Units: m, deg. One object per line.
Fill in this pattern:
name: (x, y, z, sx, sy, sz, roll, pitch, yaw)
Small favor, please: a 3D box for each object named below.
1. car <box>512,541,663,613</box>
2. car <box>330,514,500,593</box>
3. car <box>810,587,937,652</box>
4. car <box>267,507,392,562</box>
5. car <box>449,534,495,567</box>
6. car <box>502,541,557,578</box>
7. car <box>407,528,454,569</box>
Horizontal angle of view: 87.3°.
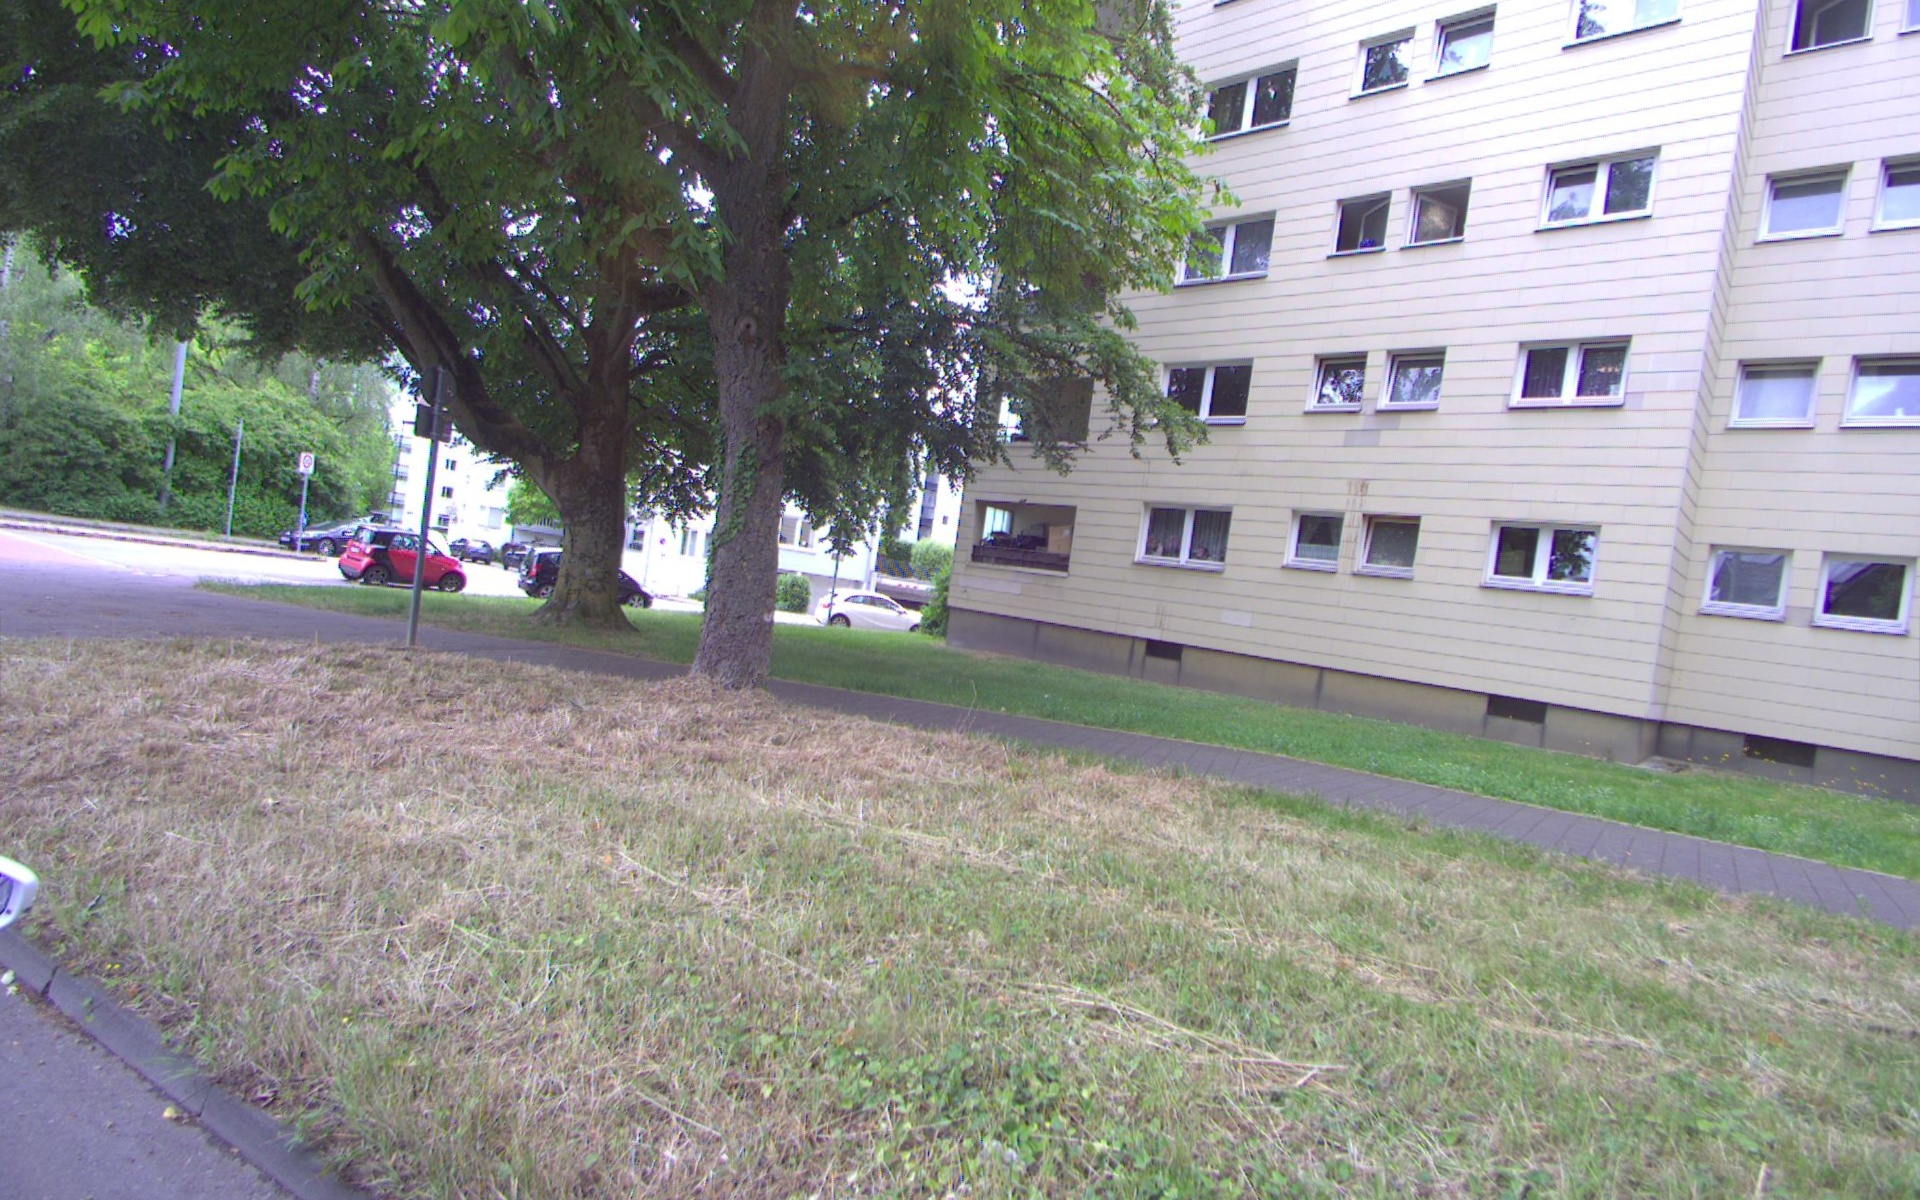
car: (-11.060, -0.674, 29.922, 3.814, 1.631, 1.713, 6, 1, -33)
car: (-14.530, -1.207, 26.948, 1.702, 1.631, 3.516, 8, 1, 37)
car: (-2.888, 0.633, 33.310, 3.796, 1.631, 1.721, 7, 1, -18)
car: (-23.404, -2.405, 37.432, 1.702, 1.549, 3.515, 8, 1, 38)
car: (-30.114, -3.076, 62.024, 1.713, 1.631, 3.813, 6, 1, -38)
car: (-23.189, -2.200, 54.071, 1.713, 1.631, 3.813, 6, 1, -38)
car: (-24.879, -2.444, 47.183, 1.709, 1.631, 3.823, 6, 1, -30)
